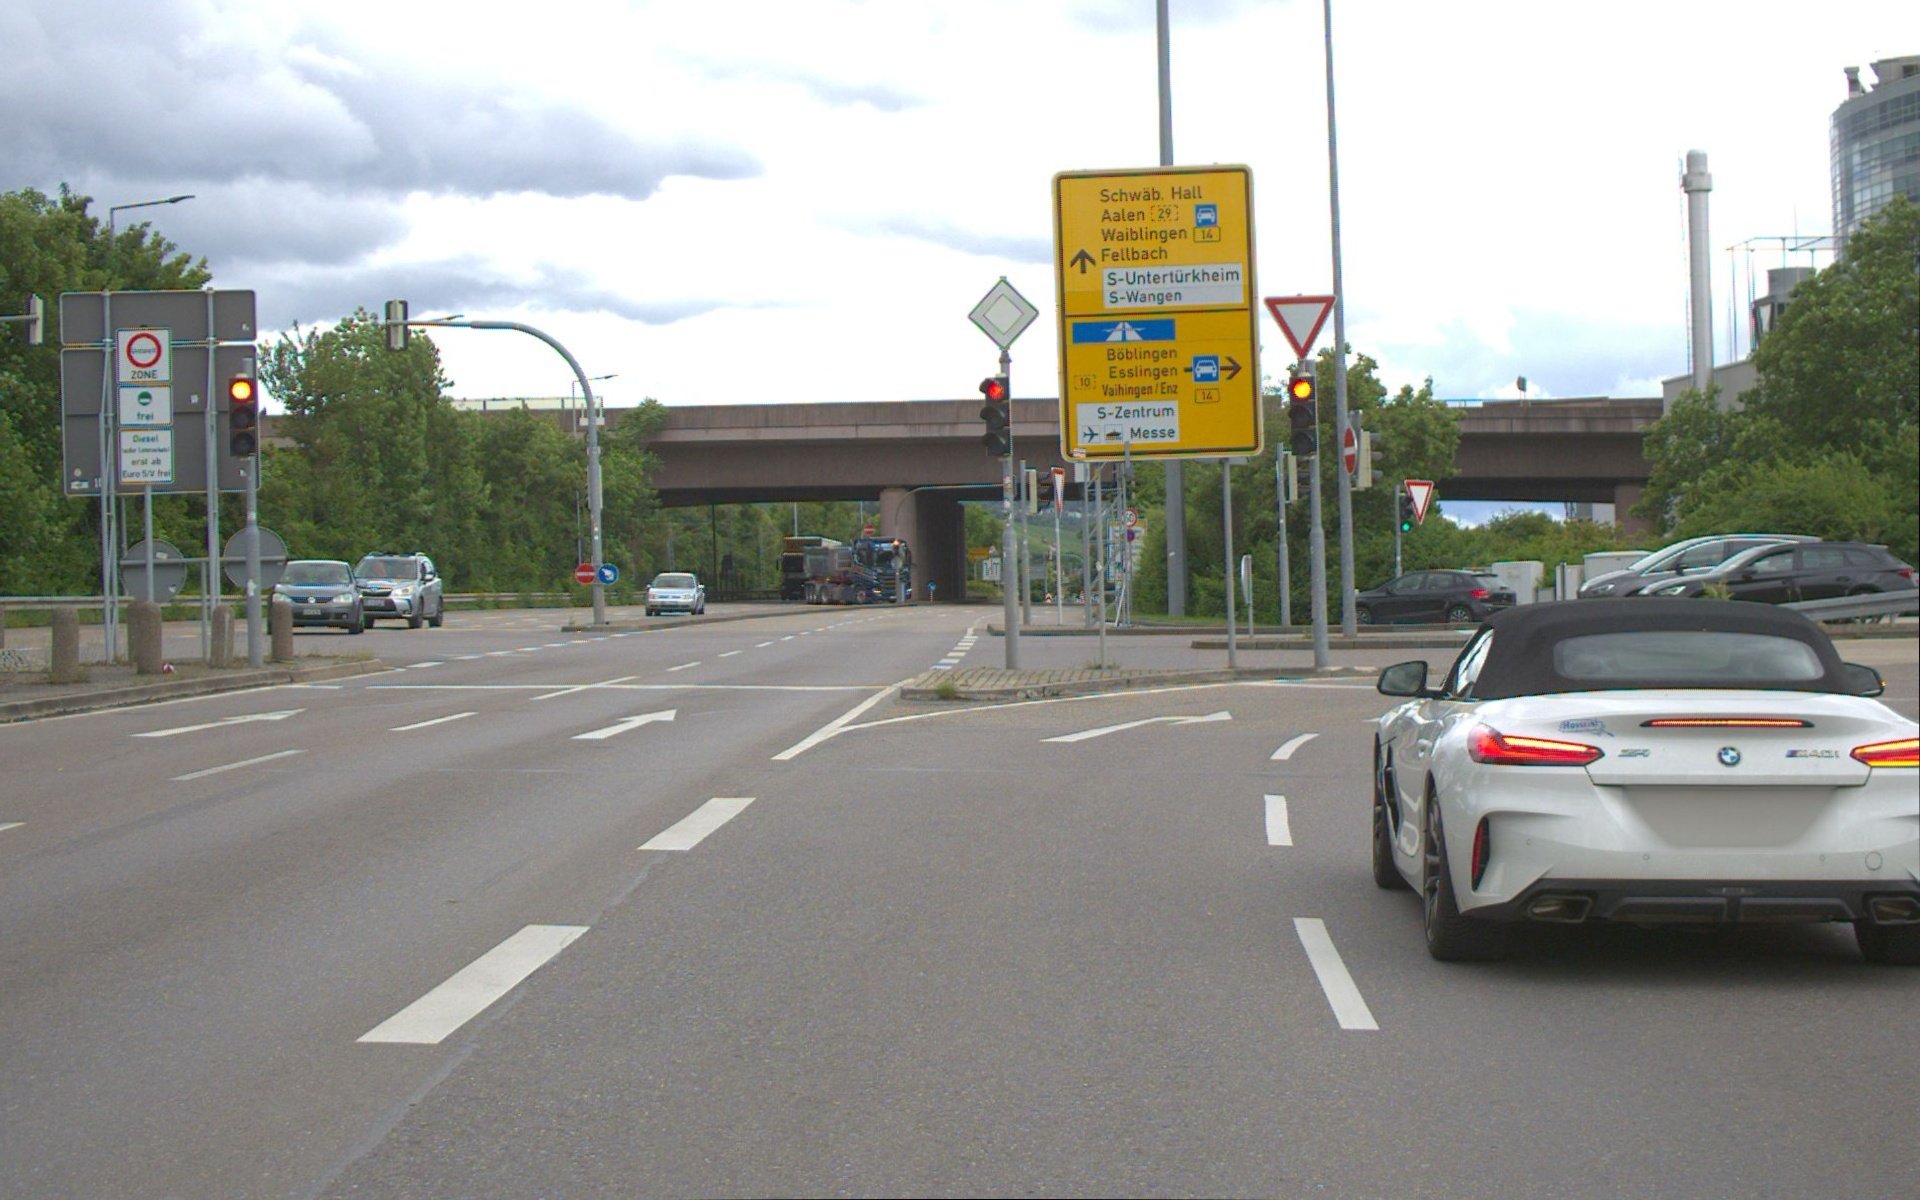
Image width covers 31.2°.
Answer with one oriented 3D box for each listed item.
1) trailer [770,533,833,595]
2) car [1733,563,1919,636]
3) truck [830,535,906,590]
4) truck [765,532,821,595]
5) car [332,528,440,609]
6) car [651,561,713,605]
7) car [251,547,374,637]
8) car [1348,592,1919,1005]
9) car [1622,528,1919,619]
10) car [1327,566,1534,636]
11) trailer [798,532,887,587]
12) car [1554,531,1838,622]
[{"bbox_3d":[-10.729,-2.506,234.186,2.872,4.070,11.425,2,1,4],"label":"trailer"},{"bbox_3d":[18.183,-0.001,70.752,4.102,1.437,1.997,0,-1,25],"label":"car"},{"bbox_3d":[-4.791,-1.968,178.254,2.611,2.615,5.782,3,1,-14],"label":"truck"},{"bbox_3d":[-11.074,-2.434,228.974,2.872,4.070,6.486,2,1,4],"label":"truck"},{"bbox_3d":[-12.812,-0.730,76.963,1.724,1.731,4.556,-1,1,-1],"label":"car"},{"bbox_3d":[-9.353,-0.584,115.858,1.724,1.396,4.066,-1,1,0],"label":"car"},{"bbox_3d":[-12.692,-0.126,67.229,1.724,1.457,4.244,3,-4,-18],"label":"car"},{"bbox_3d":[2.626,0.656,13.563,1.805,1.287,4.263,1,1,2],"label":"car"},{"bbox_3d":[13.637,-0.461,57.756,4.605,1.452,1.956,0,2,-4],"label":"car"},{"bbox_3d":[10.358,0.044,75.748,4.107,1.459,1.995,0,-2,42],"label":"car"},{"bbox_3d":[-6.290,-2.164,183.007,2.600,2.615,8.573,3,1,-16],"label":"trailer"},{"bbox_3d":[13.217,-0.430,61.914,4.678,1.566,1.956,0,2,0],"label":"car"}]
